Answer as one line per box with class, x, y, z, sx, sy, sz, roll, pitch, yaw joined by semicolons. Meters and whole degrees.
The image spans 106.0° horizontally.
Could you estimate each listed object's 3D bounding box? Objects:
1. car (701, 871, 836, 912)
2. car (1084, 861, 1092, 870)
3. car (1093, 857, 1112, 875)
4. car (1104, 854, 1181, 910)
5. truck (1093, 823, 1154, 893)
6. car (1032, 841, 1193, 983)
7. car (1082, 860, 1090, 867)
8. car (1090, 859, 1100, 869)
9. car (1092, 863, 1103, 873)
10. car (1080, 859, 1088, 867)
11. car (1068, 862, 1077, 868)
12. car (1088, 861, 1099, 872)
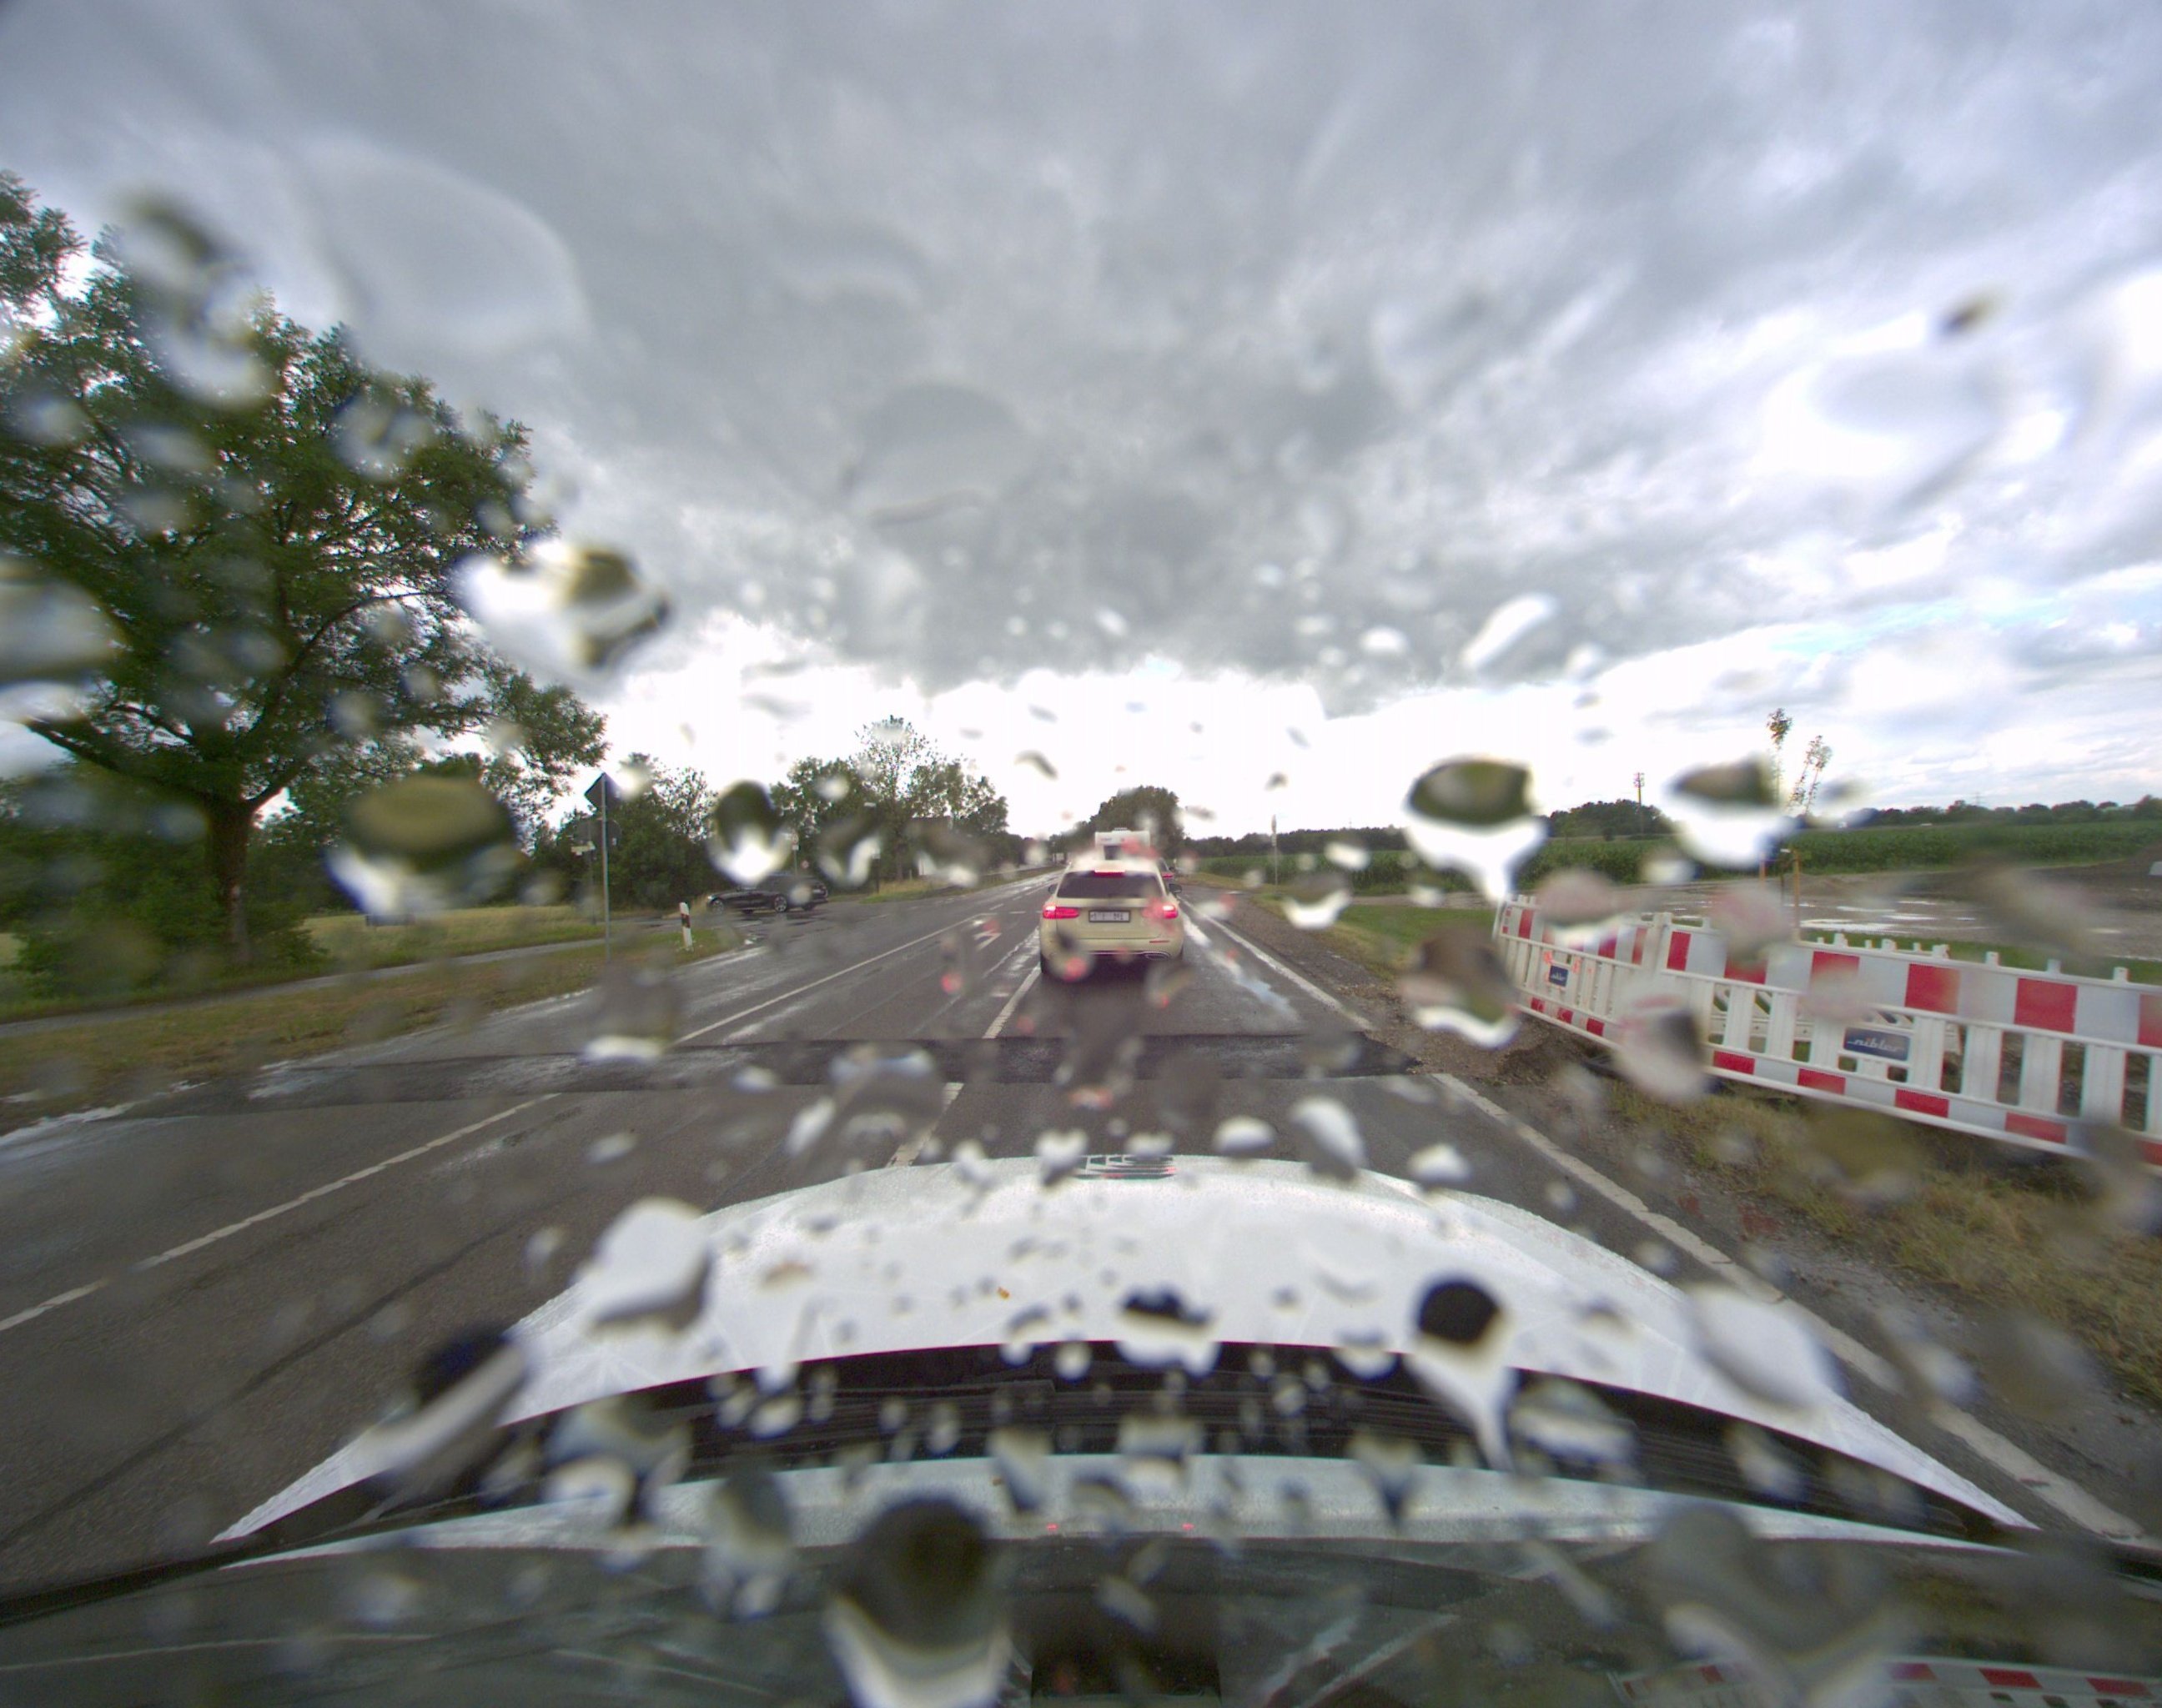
car;-12.600;1.486;32.978;4.583;1.547;2.318;0;-1;14
car;1.714;2.708;188.969;1.733;1.860;3.786;-2;0;2
car;2.412;1.276;89.259;1.908;1.841;3.798;-2;0;3
car;1.668;0.755;23.226;1.986;1.462;4.001;0;-1;2
truck;1.857;0.179;36.692;2.354;2.729;7.317;-2;0;2
car;0.427;0.683;11.432;1.836;1.618;4.001;-1;-1;2
car;1.272;2.246;203.323;1.744;1.662;3.669;-2;0;-3
car;2.615;1.767;150.941;1.872;1.761;3.835;-2;0;2
car;3.328;2.775;162.781;1.985;1.772;4.003;-2;0;3
car;0.715;2.363;213.736;1.890;1.895;3.841;-2;-1;-1
car;-2.049;2.690;196.721;1.821;1.574;4.002;0;-1;2
car;2.084;2.018;134.133;1.784;1.777;3.722;-2;0;2
